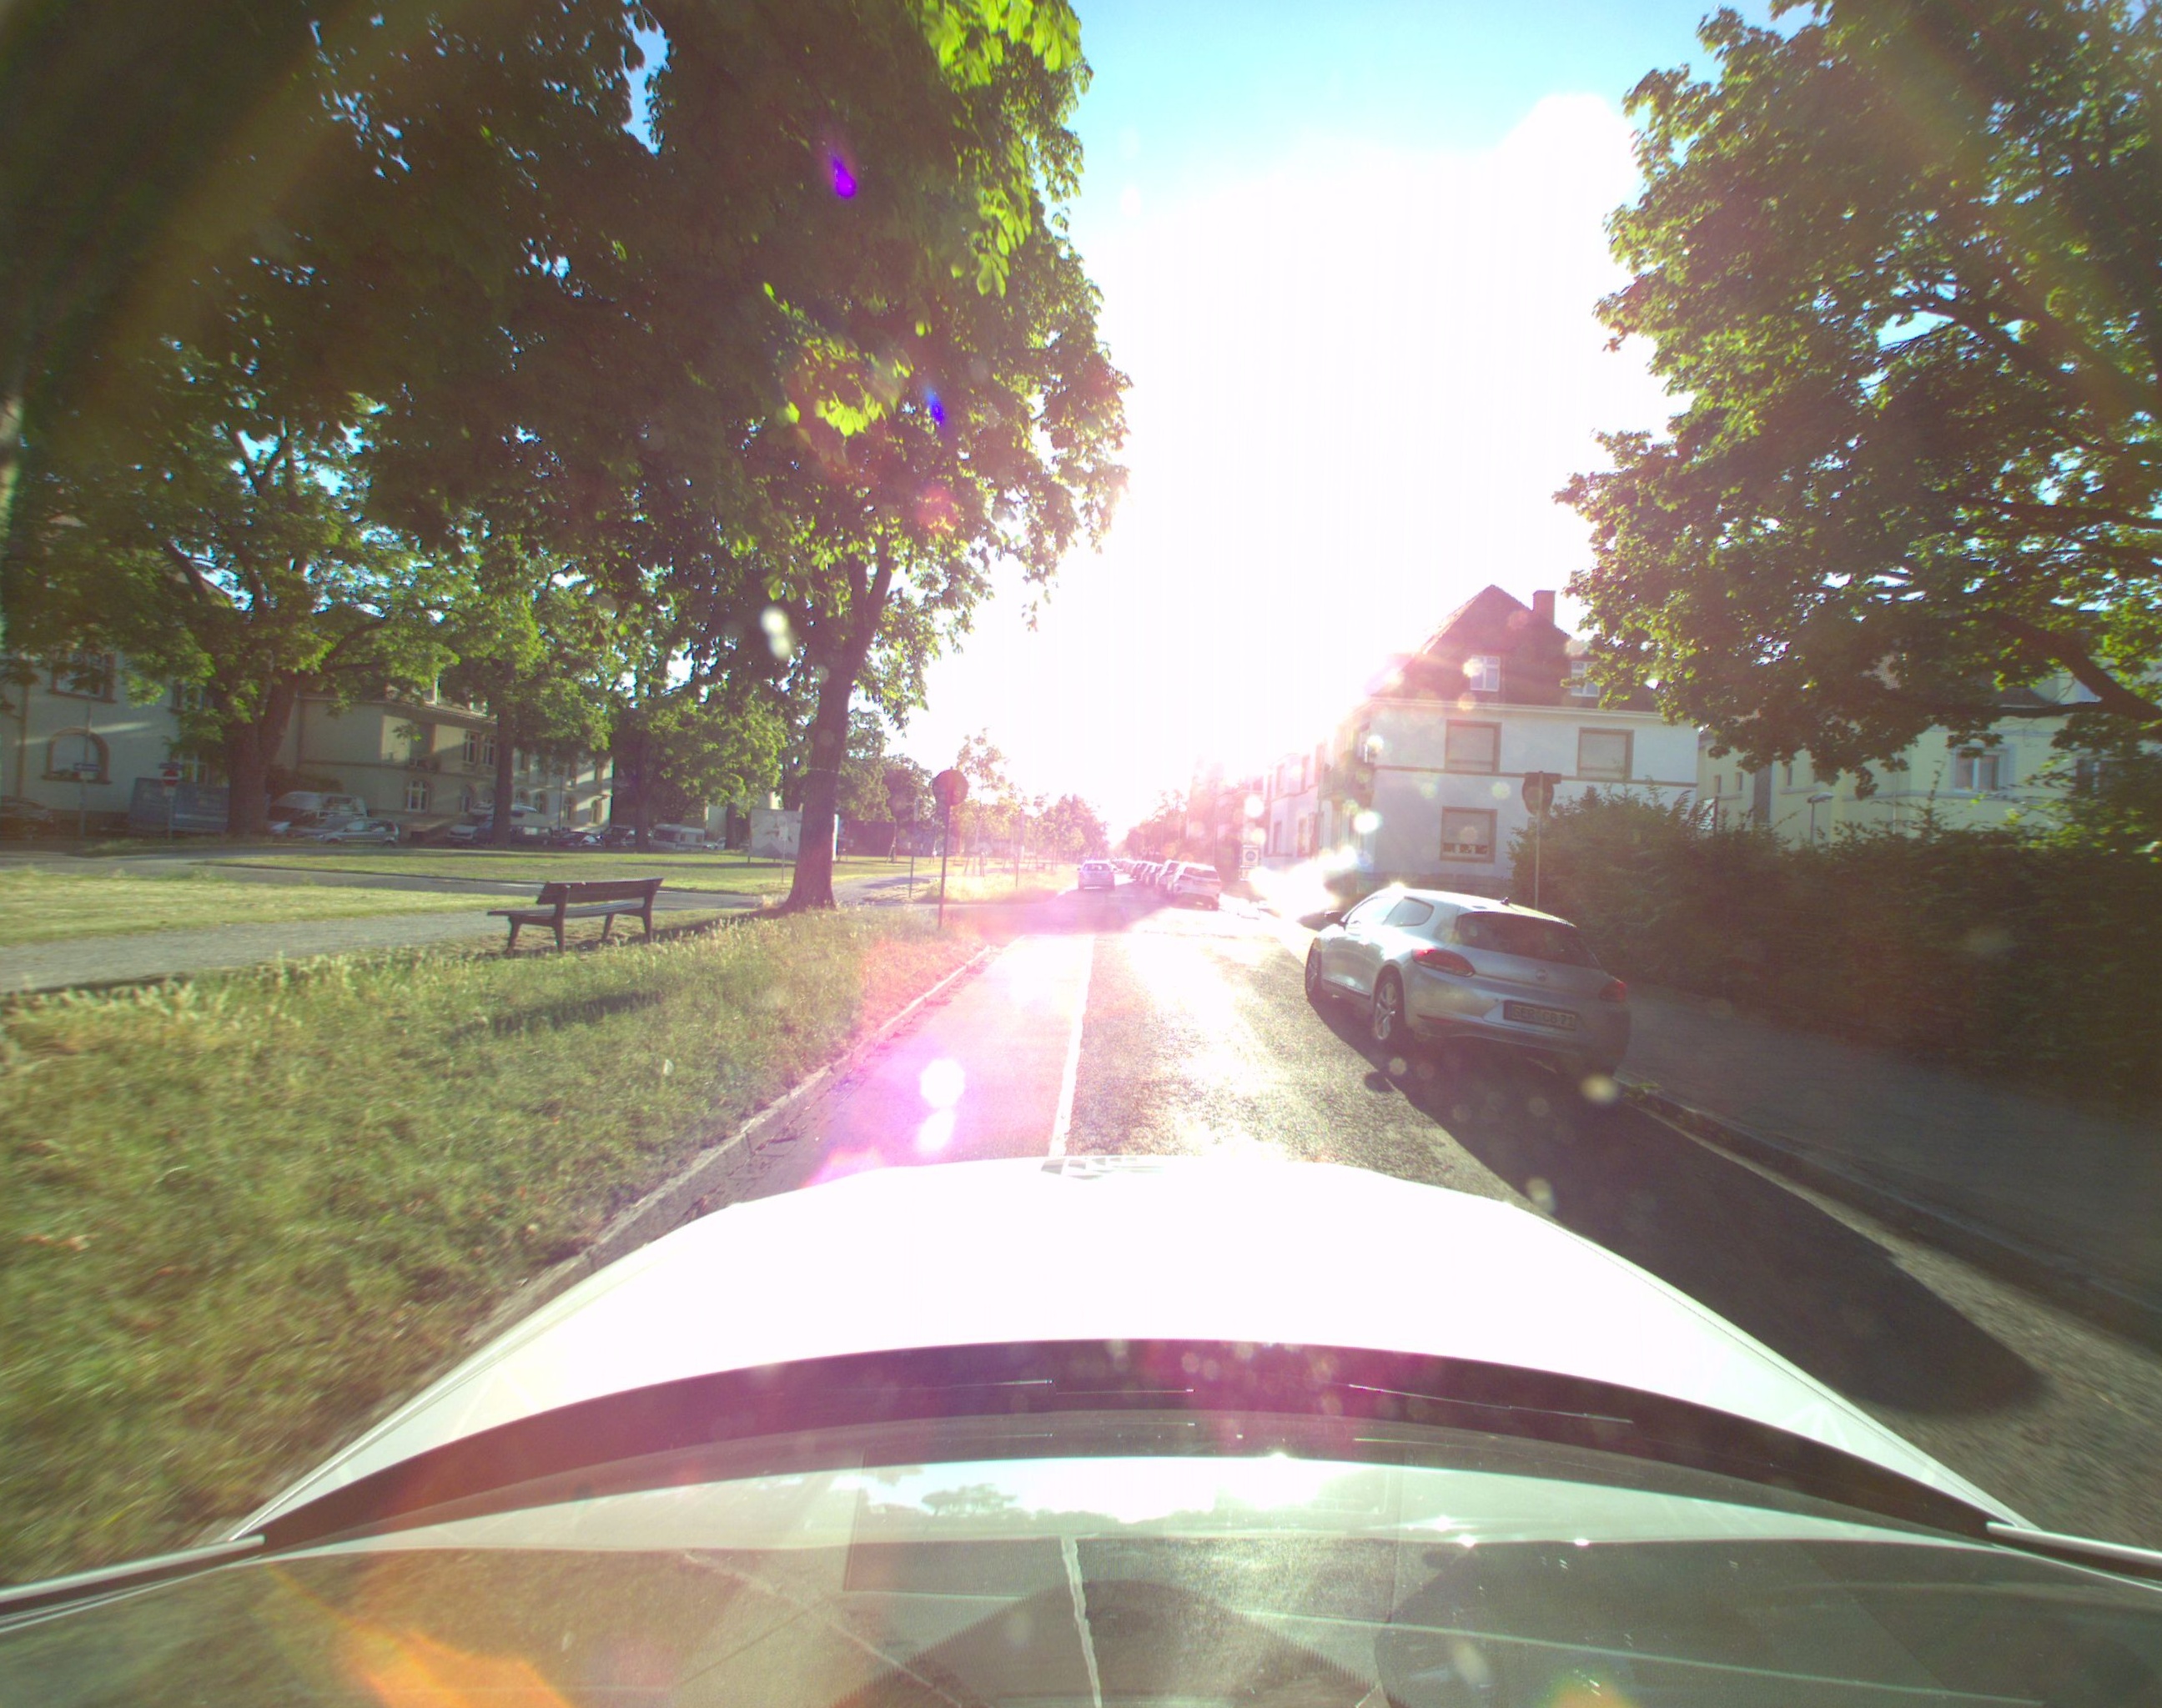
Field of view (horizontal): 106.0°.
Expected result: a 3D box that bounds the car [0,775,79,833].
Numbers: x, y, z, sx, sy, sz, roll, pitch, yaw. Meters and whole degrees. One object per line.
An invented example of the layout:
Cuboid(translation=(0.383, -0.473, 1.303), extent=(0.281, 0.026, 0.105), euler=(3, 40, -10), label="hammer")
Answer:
Cuboid(translation=(-38.832, -1.832, 28.304), extent=(1.987, 1.952, 4.751), euler=(3, 0, 1), label="car")

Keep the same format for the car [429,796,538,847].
Cuboid(translation=(-37.787, -1.997, 51.765), extent=(2.428, 2.922, 5.820), euler=(1, -1, 2), label="car")

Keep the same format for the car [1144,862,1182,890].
Cuboid(translation=(4.602, 1.225, 46.179), extent=(1.755, 1.420, 4.000), euler=(3, 0, 1), label="car")

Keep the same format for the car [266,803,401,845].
Cuboid(translation=(-32.444, -1.243, 35.533), extent=(1.678, 1.559, 4.317), euler=(3, 0, 3), label="car")

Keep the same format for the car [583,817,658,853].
Cuboid(translation=(-31.867, -1.277, 56.571), extent=(1.986, 2.250, 5.189), euler=(3, 0, 2), label="car")

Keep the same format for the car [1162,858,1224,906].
Cuboid(translation=(4.215, 1.003, 31.286), extent=(1.753, 1.605, 4.359), euler=(3, 0, 1), label="car")

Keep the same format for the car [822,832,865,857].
Cuboid(translation=(-30.545, -1.132, 104.874), extent=(3.147, 2.993, 6.897), euler=(1, -1, 3), label="car")

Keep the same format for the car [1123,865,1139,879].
Cuboid(translation=(6.435, 2.294, 104.957), extent=(1.985, 1.629, 4.003), euler=(3, 0, 3), label="car")

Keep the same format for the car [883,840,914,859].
Cuboid(translation=(-29.631, -0.723, 132.365), extent=(3.147, 2.993, 6.897), euler=(1, -1, 3), label="car")

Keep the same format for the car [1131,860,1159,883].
Cuboid(translation=(4.830, 1.302, 61.748), extent=(1.755, 1.521, 4.000), euler=(5, 0, 1), label="car")

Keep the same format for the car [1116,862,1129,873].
Cuboid(translation=(6.730, 2.140, 133.064), extent=(1.972, 1.683, 4.003), euler=(3, 0, 3), label="car")

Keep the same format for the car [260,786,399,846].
Cuboid(translation=(-38.131, -1.841, 41.563), extent=(1.986, 2.672, 5.189), euler=(3, 0, 2), label="car")

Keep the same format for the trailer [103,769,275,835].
Cuboid(translation=(-38.315, -2.149, 35.212), extent=(1.986, 2.428, 4.726), euler=(3, 0, 2), label="trailer")

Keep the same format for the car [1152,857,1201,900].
Cuboid(translation=(4.321, 1.066, 37.211), extent=(1.679, 1.650, 4.101), euler=(8, 0, 2), label="car")

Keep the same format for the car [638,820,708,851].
Cuboid(translation=(-31.832, -1.418, 63.787), extent=(2.525, 2.236, 5.462), euler=(3, 0, 2), label="car")

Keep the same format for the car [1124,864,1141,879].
Cuboid(translation=(6.191, 2.083, 98.306), extent=(1.985, 1.629, 4.003), euler=(3, 0, 3), label="car")

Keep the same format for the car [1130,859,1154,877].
Cuboid(translation=(5.355, 1.230, 72.351), extent=(1.985, 1.464, 4.003), euler=(3, 0, 3), label="car")

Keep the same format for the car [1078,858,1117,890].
Cuboid(translation=(0.787, 0.923, 39.718), extent=(1.755, 1.420, 4.000), euler=(2, 0, 1), label="car")

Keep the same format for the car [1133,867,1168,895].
Cuboid(translation=(4.351, 1.682, 51.612), extent=(1.755, 1.420, 4.000), euler=(7, 0, 1), label="car")

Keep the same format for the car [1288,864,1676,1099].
Cuboid(translation=(3.436, 0.949, 7.971), extent=(1.750, 1.419, 4.074), euler=(9, 0, 2), label="car")

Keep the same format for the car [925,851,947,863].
Cuboid(translation=(-29.388, 0.628, 165.409), extent=(3.147, 2.148, 6.114), euler=(1, -1, 3), label="car")

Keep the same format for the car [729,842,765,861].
Cuboid(translation=(-36.868, -0.292, 90.007), extent=(1.986, 2.014, 4.486), euler=(1, -1, 2), label="car")

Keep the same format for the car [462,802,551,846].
Cuboid(translation=(-32.118, -1.614, 45.715), extent=(1.678, 2.176, 4.317), euler=(3, 0, 3), label="car")
